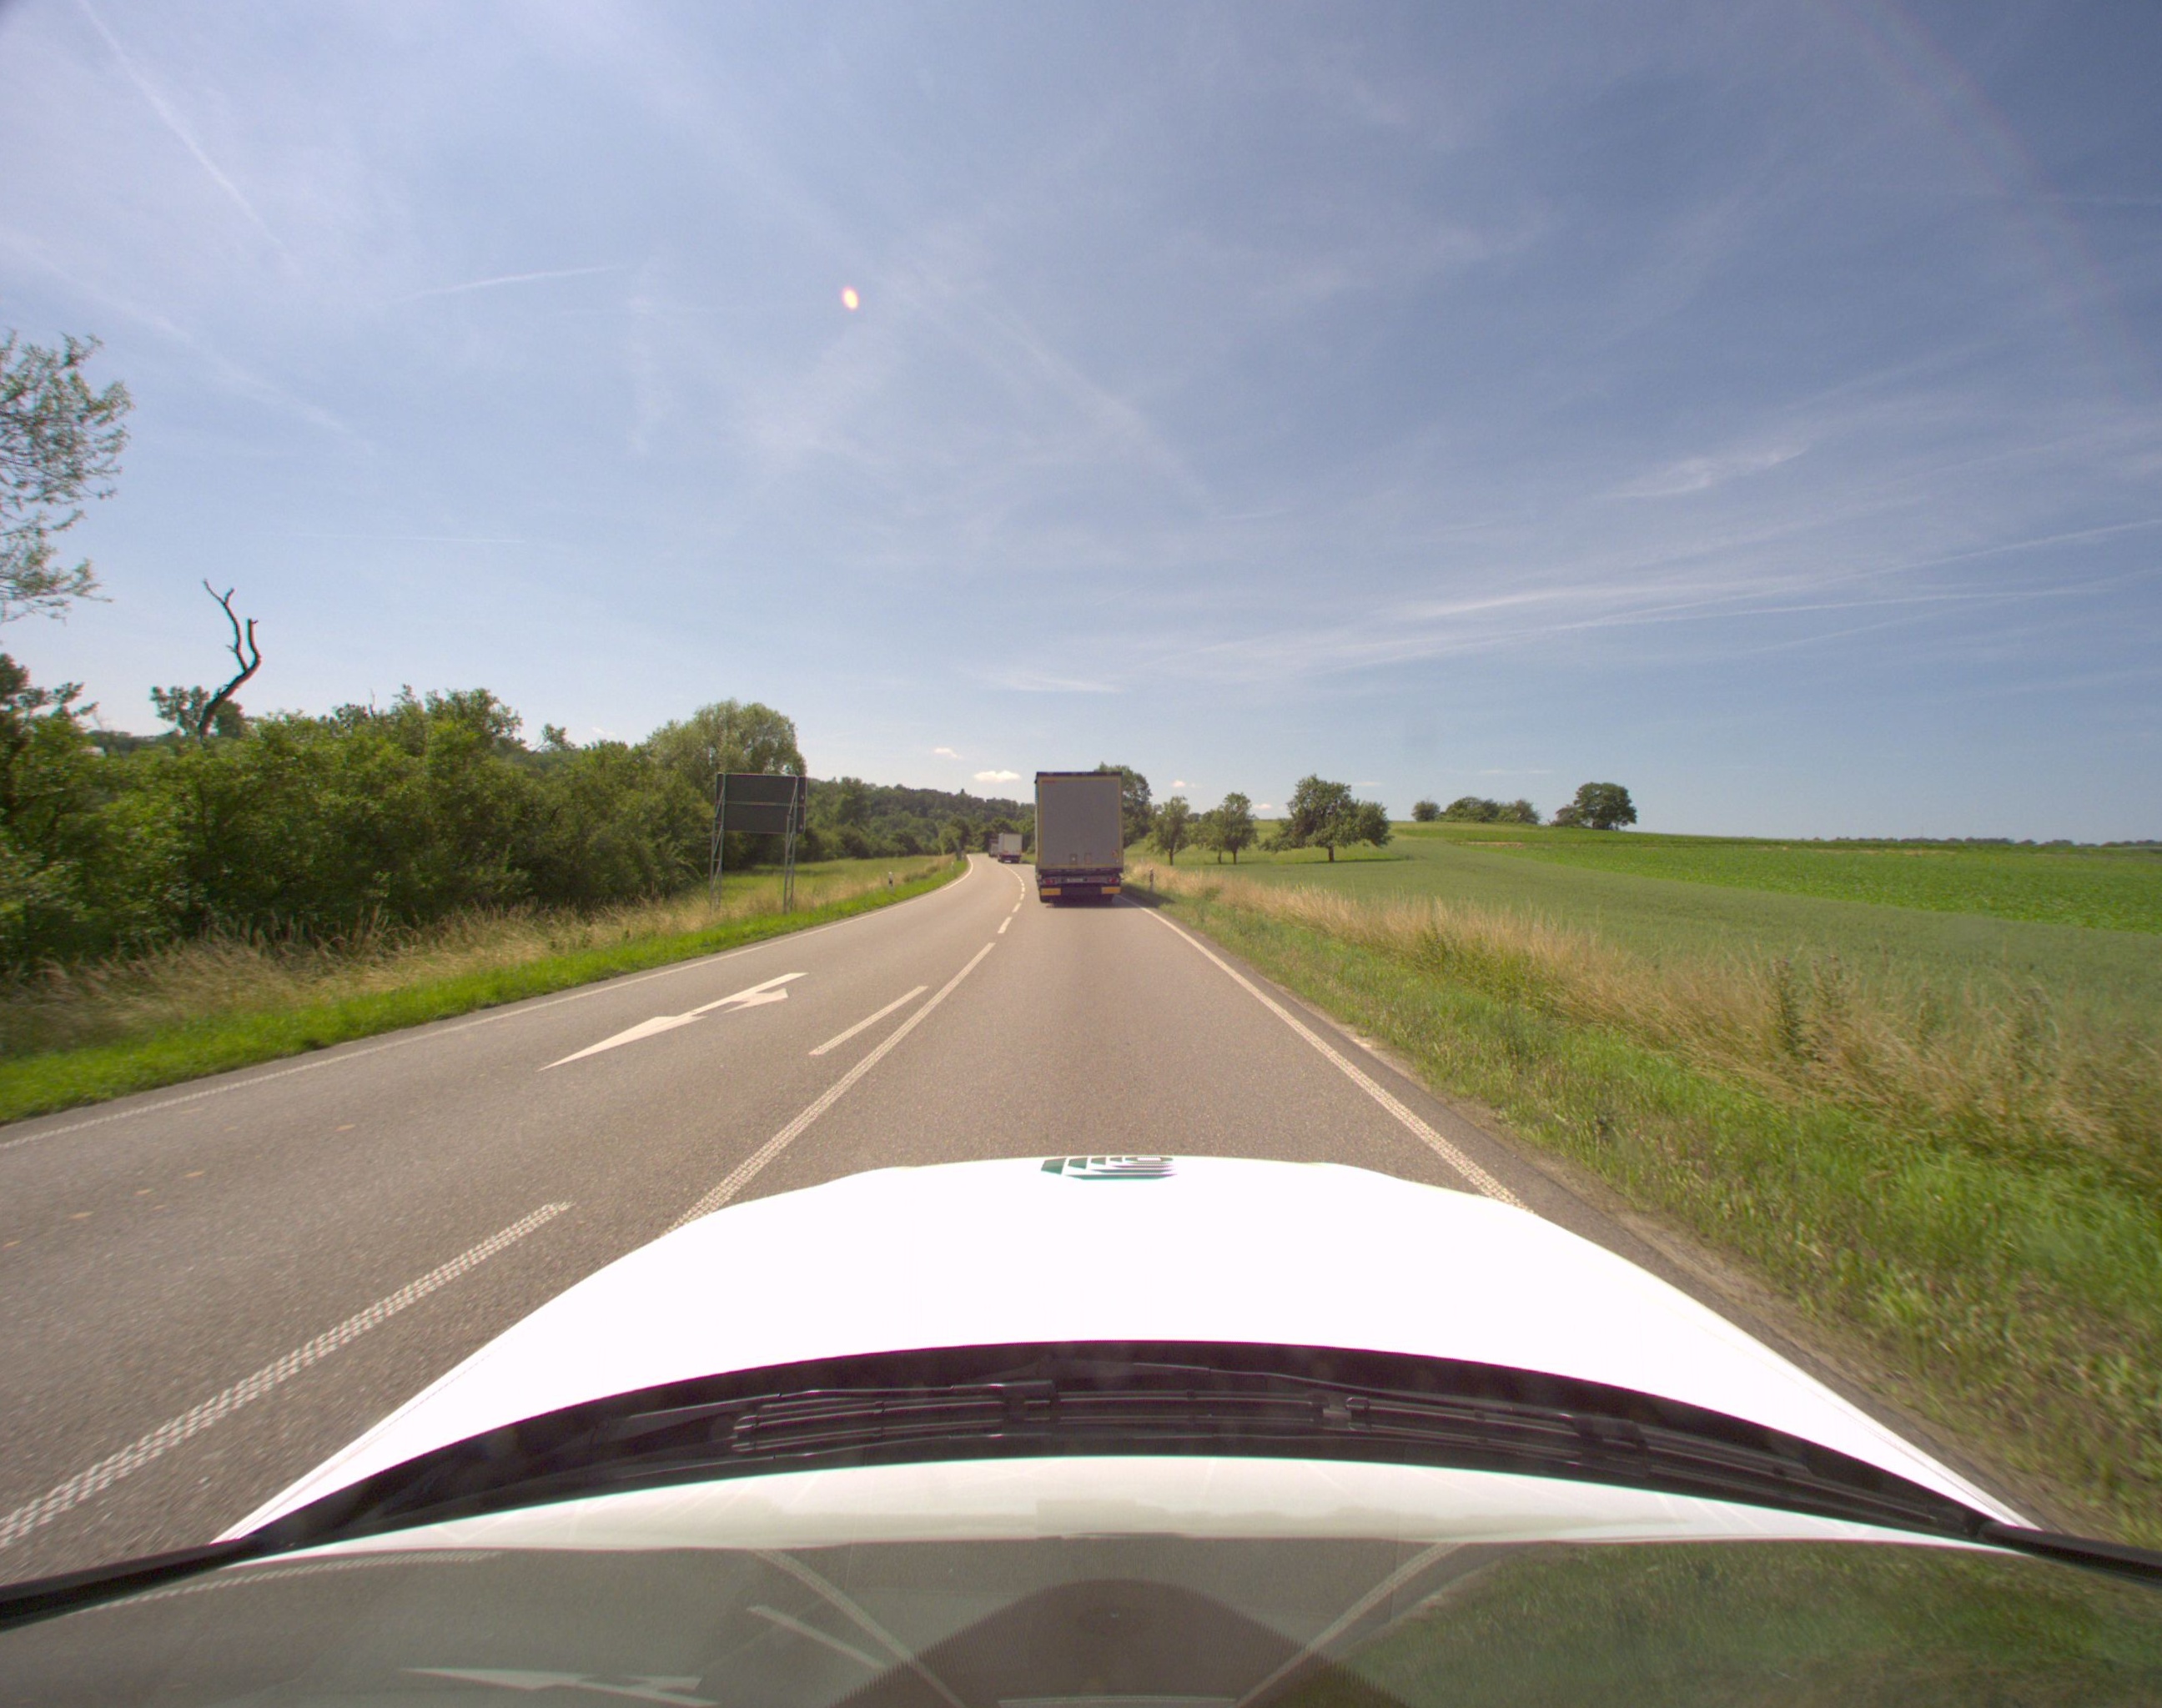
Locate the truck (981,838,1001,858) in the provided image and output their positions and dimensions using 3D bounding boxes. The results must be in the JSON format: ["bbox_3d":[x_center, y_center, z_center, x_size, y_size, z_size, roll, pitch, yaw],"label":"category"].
[{"bbox_3d":[-21.305,-1.395,192.224,3.530,4.241,13.354,2,-2,-11],"label":"truck"}]

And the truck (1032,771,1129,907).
[{"bbox_3d":[-0.262,-0.469,28.661,2.802,3.946,9.579,-1,0,-3],"label":"truck"}]

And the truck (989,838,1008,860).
[{"bbox_3d":[-17.664,-1.005,173.514,3.633,4.130,13.064,2,-2,-7],"label":"truck"}]

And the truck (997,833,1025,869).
[{"bbox_3d":[-10.017,-0.493,114.629,2.959,4.584,16.270,1,0,-8],"label":"truck"}]
